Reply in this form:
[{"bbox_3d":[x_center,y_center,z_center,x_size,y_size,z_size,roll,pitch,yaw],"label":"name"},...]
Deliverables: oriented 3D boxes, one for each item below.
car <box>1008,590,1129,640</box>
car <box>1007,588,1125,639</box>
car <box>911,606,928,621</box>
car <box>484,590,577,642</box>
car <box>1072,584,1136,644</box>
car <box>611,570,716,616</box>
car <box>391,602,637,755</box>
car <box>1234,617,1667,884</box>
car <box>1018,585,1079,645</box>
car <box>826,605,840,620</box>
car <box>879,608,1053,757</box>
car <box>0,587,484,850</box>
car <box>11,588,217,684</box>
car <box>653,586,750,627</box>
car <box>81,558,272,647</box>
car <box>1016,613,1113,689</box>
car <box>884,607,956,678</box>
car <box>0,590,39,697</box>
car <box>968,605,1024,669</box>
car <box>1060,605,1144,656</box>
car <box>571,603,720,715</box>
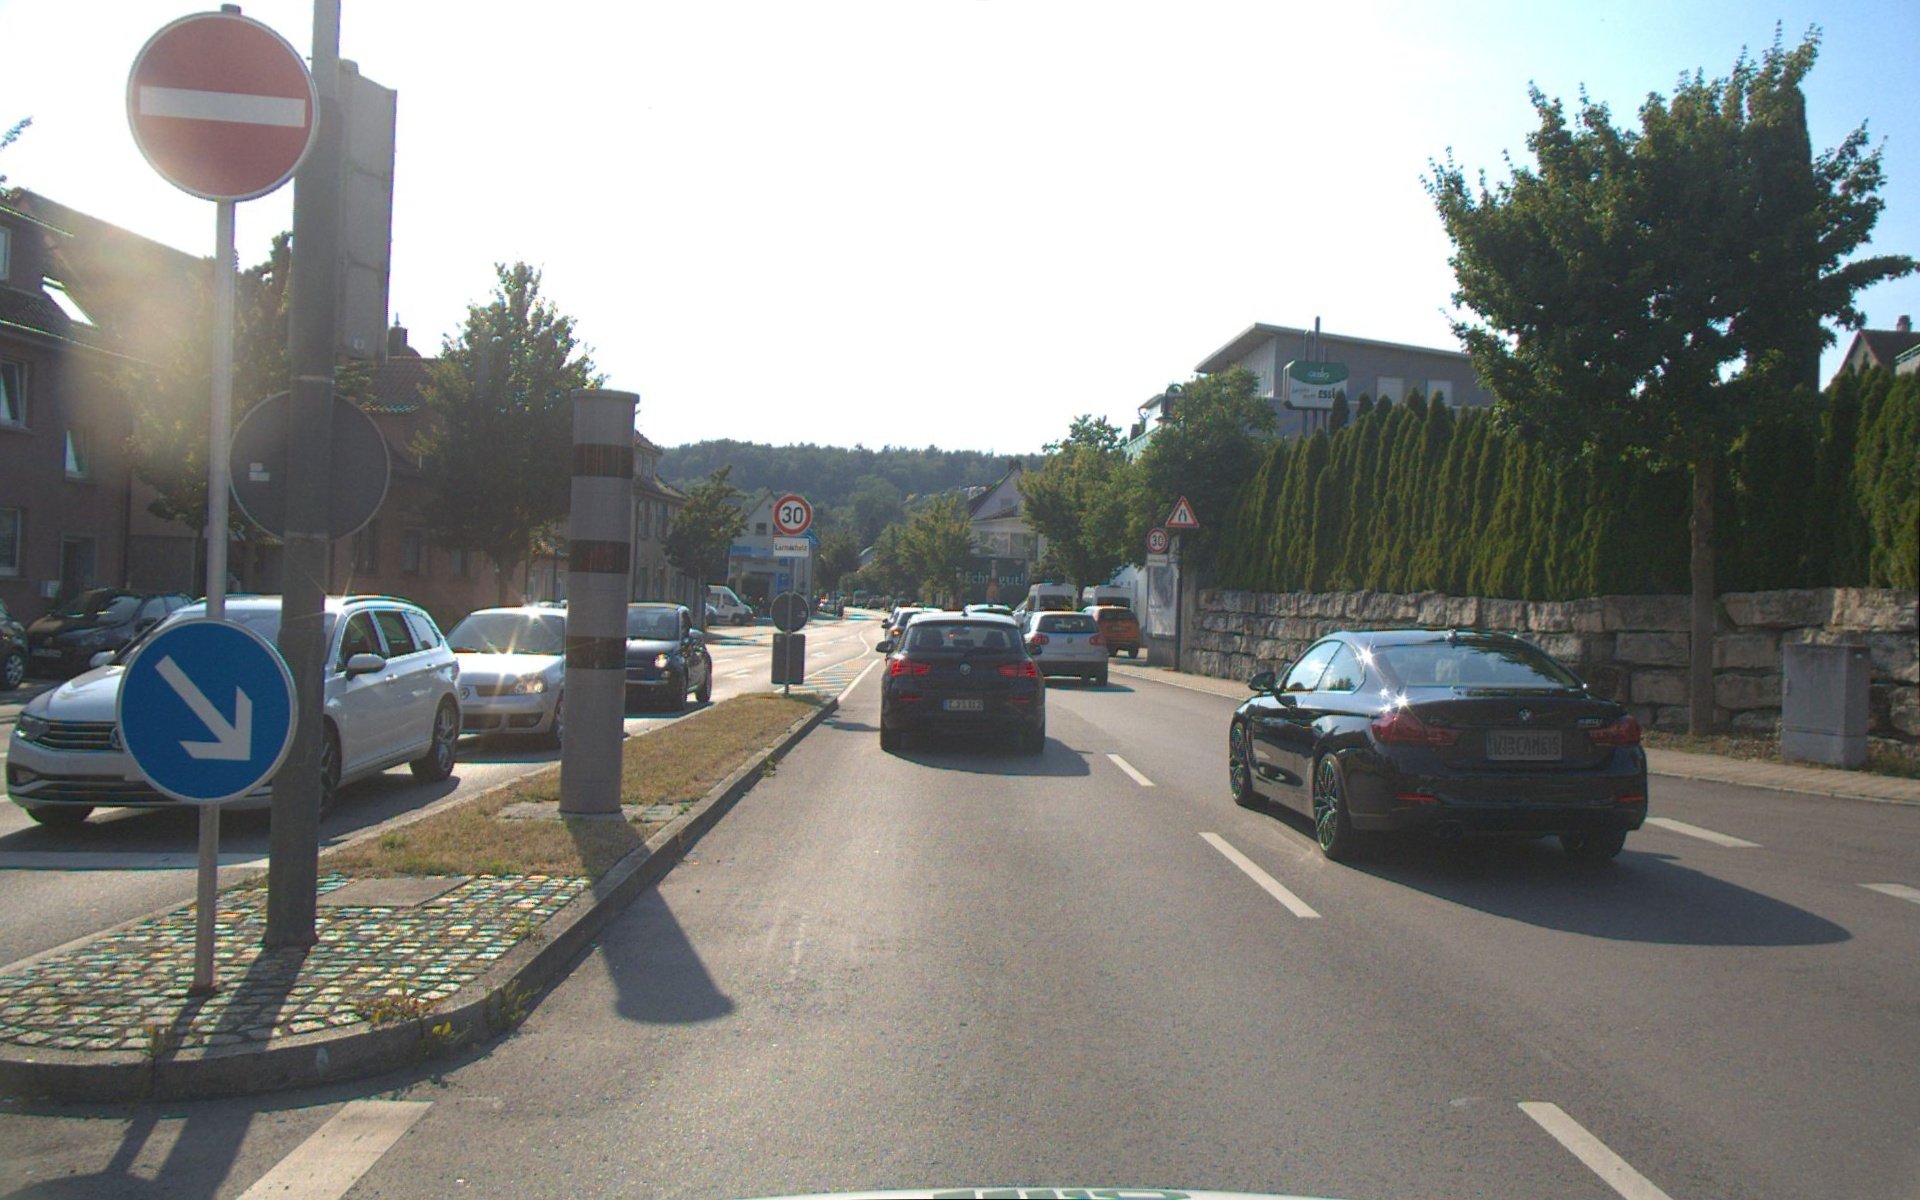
[{"bbox_3d":[5.500,0.754,84.259,5.926,2.404,2.042,1,0,-5],"label":"car"},{"bbox_3d":[5.556,0.707,87.262,5.926,2.560,2.042,1,0,-5],"label":"car"},{"bbox_3d":[-4.298,1.454,175.518,1.565,1.511,3.472,2,0,-4],"label":"car"},{"bbox_3d":[-13.875,0.510,53.585,1.631,1.513,4.002,4,0,4],"label":"car"},{"bbox_3d":[6.875,0.638,79.690,2.070,2.769,6.437,1,0,-4],"label":"car"},{"bbox_3d":[-17.847,-0.459,99.776,5.797,2.523,2.194,2,1,1],"label":"car"},{"bbox_3d":[-4.655,0.772,17.750,1.556,1.452,3.578,1,-1,1],"label":"car"},{"bbox_3d":[3.058,0.853,11.244,1.665,1.393,4.262,0,0,0],"label":"car"},{"bbox_3d":[4.189,0.668,79.267,2.107,2.727,6.598,1,0,-4],"label":"car"},{"bbox_3d":[-14.417,1.413,187.850,1.565,1.511,3.472,2,0,-4],"label":"car"},{"bbox_3d":[0.021,0.833,18.255,1.736,1.482,3.514,0,0,-2],"label":"car"},{"bbox_3d":[-4.987,0.691,11.999,1.798,1.514,4.565,1,0,-1],"label":"car"},{"bbox_3d":[-14.627,0.580,28.857,1.586,1.537,4.131,1,0,-2],"label":"car"},{"bbox_3d":[-17.078,0.418,109.504,6.035,2.487,2.248,2,0,-3],"label":"car"},{"bbox_3d":[-19.200,0.067,40.651,3.743,1.914,1.779,3,-1,1],"label":"car"},{"bbox_3d":[2.123,1.020,34.402,1.718,1.439,3.421,1,0,-1],"label":"car"},{"bbox_3d":[-1.030,1.007,41.105,1.560,1.628,3.890,1,0,-4],"label":"car"},{"bbox_3d":[-14.641,0.607,23.035,1.481,1.537,3.884,3,0,-2],"label":"car"},{"bbox_3d":[1.042,1.077,49.578,1.570,1.798,3.410,1,0,0],"label":"car"},{"bbox_3d":[4.864,1.028,57.321,1.801,1.678,4.527,1,0,-10],"label":"car"},{"bbox_3d":[-4.561,0.809,24.418,1.501,1.487,3.506,1,0,0],"label":"car"}]
